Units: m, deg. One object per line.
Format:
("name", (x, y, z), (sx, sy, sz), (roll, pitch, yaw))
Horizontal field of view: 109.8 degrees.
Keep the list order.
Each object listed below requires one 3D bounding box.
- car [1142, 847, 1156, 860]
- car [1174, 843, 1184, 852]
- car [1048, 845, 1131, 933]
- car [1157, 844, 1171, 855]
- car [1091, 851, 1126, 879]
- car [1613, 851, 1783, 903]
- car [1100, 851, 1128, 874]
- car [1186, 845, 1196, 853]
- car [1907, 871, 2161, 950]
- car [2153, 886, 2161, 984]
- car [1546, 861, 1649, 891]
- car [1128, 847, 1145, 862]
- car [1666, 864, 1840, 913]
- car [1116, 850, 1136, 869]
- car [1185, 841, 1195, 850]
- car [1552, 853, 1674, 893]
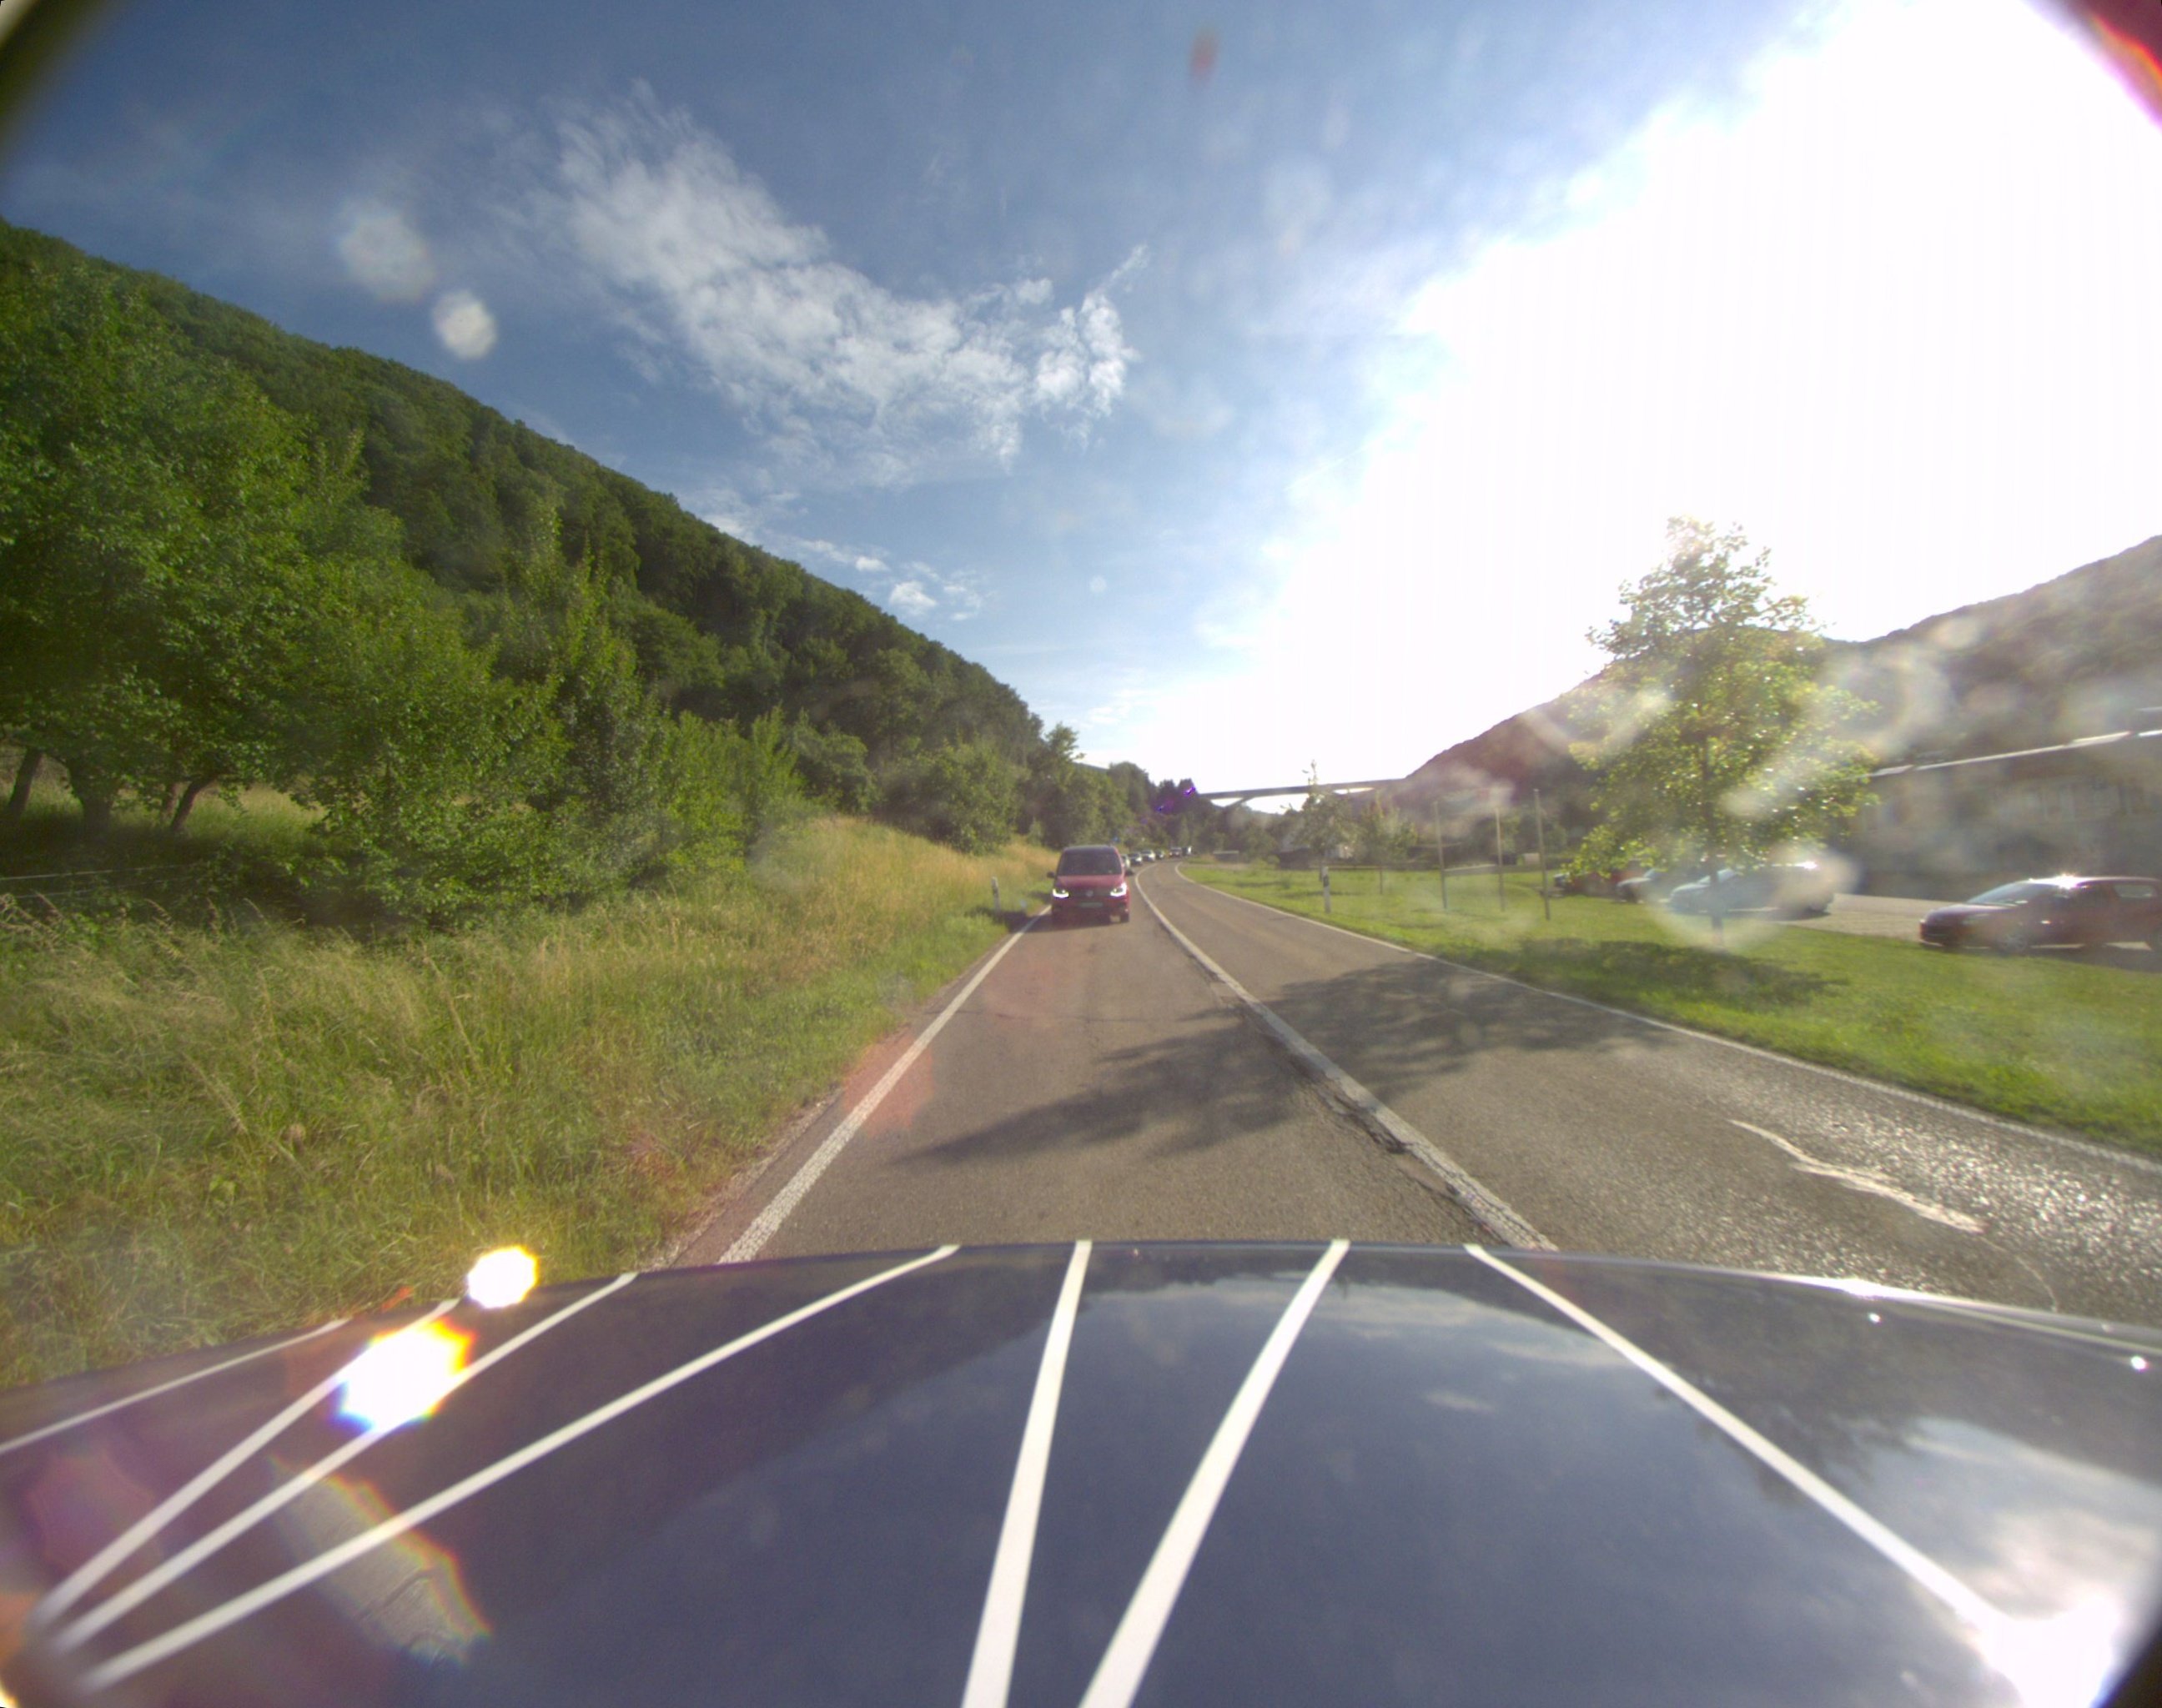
("car", (8.599, -0.045, 95.668), (1.629, 1.470, 3.680), (-2, 1, 4))
("car", (16.905, -1.168, 130.659), (1.629, 1.470, 3.681), (-2, 1, 7))
("car", (0.311, 0.707, 17.824), (1.649, 1.762, 4.000), (-2, 1, 4))
("car", (12.415, -0.685, 113.612), (1.629, 1.470, 3.682), (-2, 1, 11))
("car", (1.659, 0.633, 44.687), (1.629, 1.470, 3.681), (-2, 1, 8))
("car", (24.250, 0.895, 30.028), (5.000, 1.783, 1.685), (-2, 1, 10))
("car", (2.414, 0.577, 54.450), (1.629, 1.470, 3.681), (-2, 1, 8))
("car", (21.902, -0.982, 151.558), (1.629, 1.470, 3.682), (-2, 1, 11))
("car", (20.082, 1.152, 15.776), (3.727, 1.390, 1.617), (-2, 1, 12))
("car", (19.163, 1.227, 10.697), (4.546, 1.546, 2.001), (-2, 1, 12))
("car", (26.091, 1.109, 38.515), (3.892, 1.360, 1.854), (-1, 1, 13))
("car", (5.874, 0.010, 80.389), (1.629, 1.470, 3.680), (-2, 1, 4))
("car", (22.362, 1.144, 25.429), (4.014, 1.443, 1.686), (-2, -1, 10))
("car", (3.916, 0.429, 65.276), (1.629, 1.470, 3.680), (-2, 1, 4))
("car", (20.572, -1.632, 143.111), (1.629, 1.470, 3.682), (-2, 1, 11))
("car", (24.795, 0.903, 35.584), (4.327, 1.659, 1.850), (-2, 1, 16))
